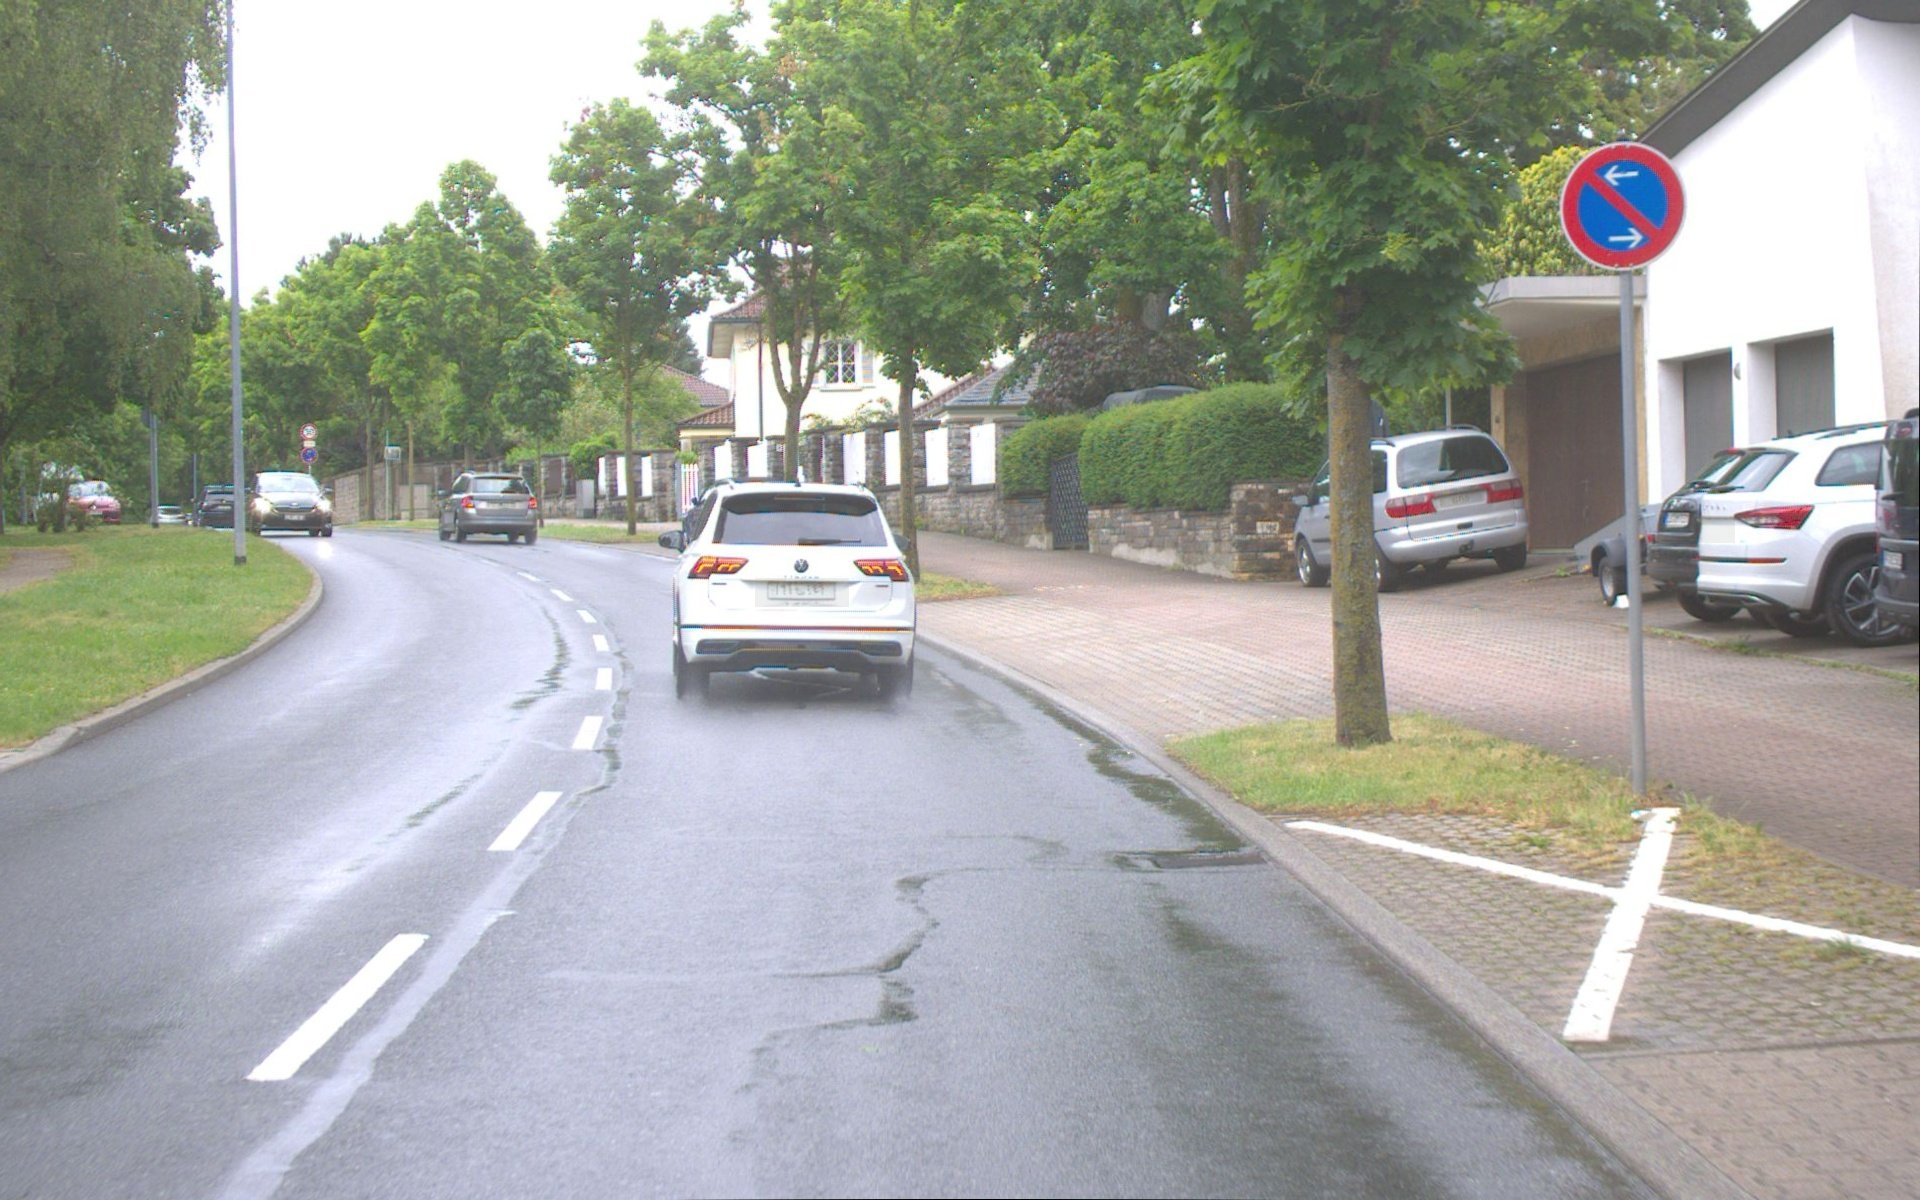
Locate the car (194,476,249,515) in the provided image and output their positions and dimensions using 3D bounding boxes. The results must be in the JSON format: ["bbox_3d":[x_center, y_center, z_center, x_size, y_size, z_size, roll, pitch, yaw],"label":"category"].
[{"bbox_3d":[-28.837,-4.096,134.133,1.851,1.413,4.228,1,3,-16],"label":"car"}]

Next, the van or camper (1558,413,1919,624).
[{"bbox_3d":[7.109,-0.733,29.520,3.401,1.550,1.770,-5,2,-10],"label":"van or camper"}]

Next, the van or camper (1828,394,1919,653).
[{"bbox_3d":[8.525,-0.700,24.552,4.013,1.782,1.948,-4,2,-2],"label":"van or camper"}]

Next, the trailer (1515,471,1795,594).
[{"bbox_3d":[6.590,-0.648,32.894,1.420,0.918,3.276,-9,3,-10],"label":"trailer"}]

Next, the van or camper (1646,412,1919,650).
[{"bbox_3d":[7.696,-0.645,26.986,3.986,1.671,2.124,-4,2,-5],"label":"van or camper"}]

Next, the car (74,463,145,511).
[{"bbox_3d":[-26.695,-3.538,107.860,1.842,1.461,4.251,-1,2,-18],"label":"car"}]

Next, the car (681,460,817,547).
[{"bbox_3d":[-3.628,-1.671,58.603,1.641,1.372,3.830,-3,3,-13],"label":"car"}]

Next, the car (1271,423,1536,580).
[{"bbox_3d":[5.228,-1.204,41.195,1.794,1.751,4.945,-1,2,-9],"label":"car"}]

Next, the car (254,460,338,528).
[{"bbox_3d":[-14.970,-2.408,77.358,1.754,1.436,4.159,1,3,-12],"label":"car"}]

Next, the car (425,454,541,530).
[{"bbox_3d":[-9.970,-2.270,71.647,1.840,1.481,4.002,1,3,-16],"label":"car"}]

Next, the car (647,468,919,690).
[{"bbox_3d":[-1.377,-0.229,27.415,1.996,1.626,4.001,0,2,-2],"label":"car"}]
